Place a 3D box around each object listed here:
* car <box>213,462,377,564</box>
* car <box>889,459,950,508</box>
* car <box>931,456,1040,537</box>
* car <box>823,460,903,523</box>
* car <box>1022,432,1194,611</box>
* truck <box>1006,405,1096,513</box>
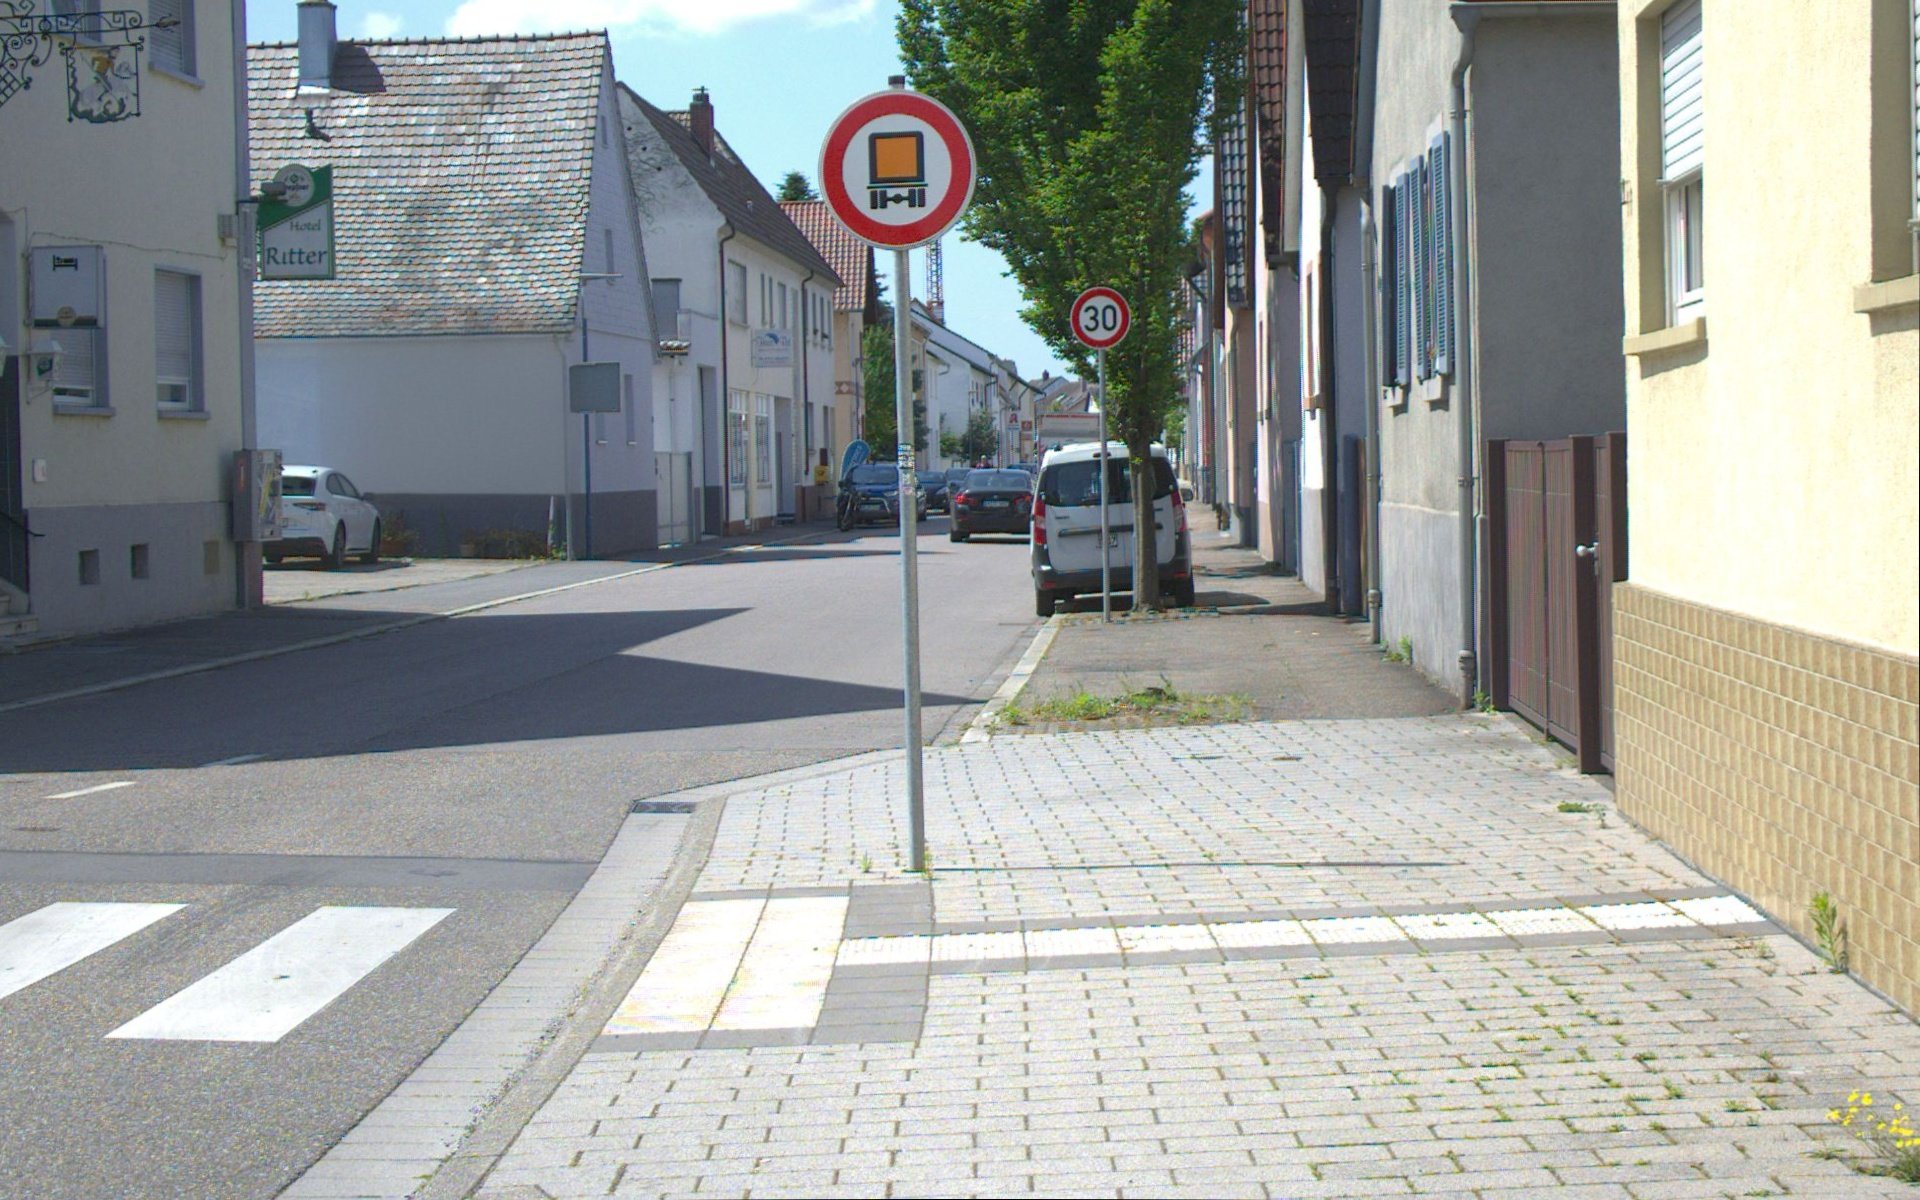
[{"bbox_3d":[-10.600,-1.426,55.057,1.719,1.550,4.199,1,2,1],"label":"car"},{"bbox_3d":[-1.316,-3.860,113.894,1.809,1.583,4.000,0,2,2],"label":"car"},{"bbox_3d":[0.557,-2.108,69.260,1.902,1.558,4.476,0,3,4],"label":"car"},{"bbox_3d":[-2.499,-2.825,89.282,1.809,1.583,4.000,0,2,2],"label":"car"},{"bbox_3d":[1.585,-0.898,37.734,1.719,1.784,4.144,-2,2,1],"label":"car"},{"bbox_3d":[3.771,-5.737,140.498,3.145,4.235,9.302,1,2,4],"label":"truck"}]
